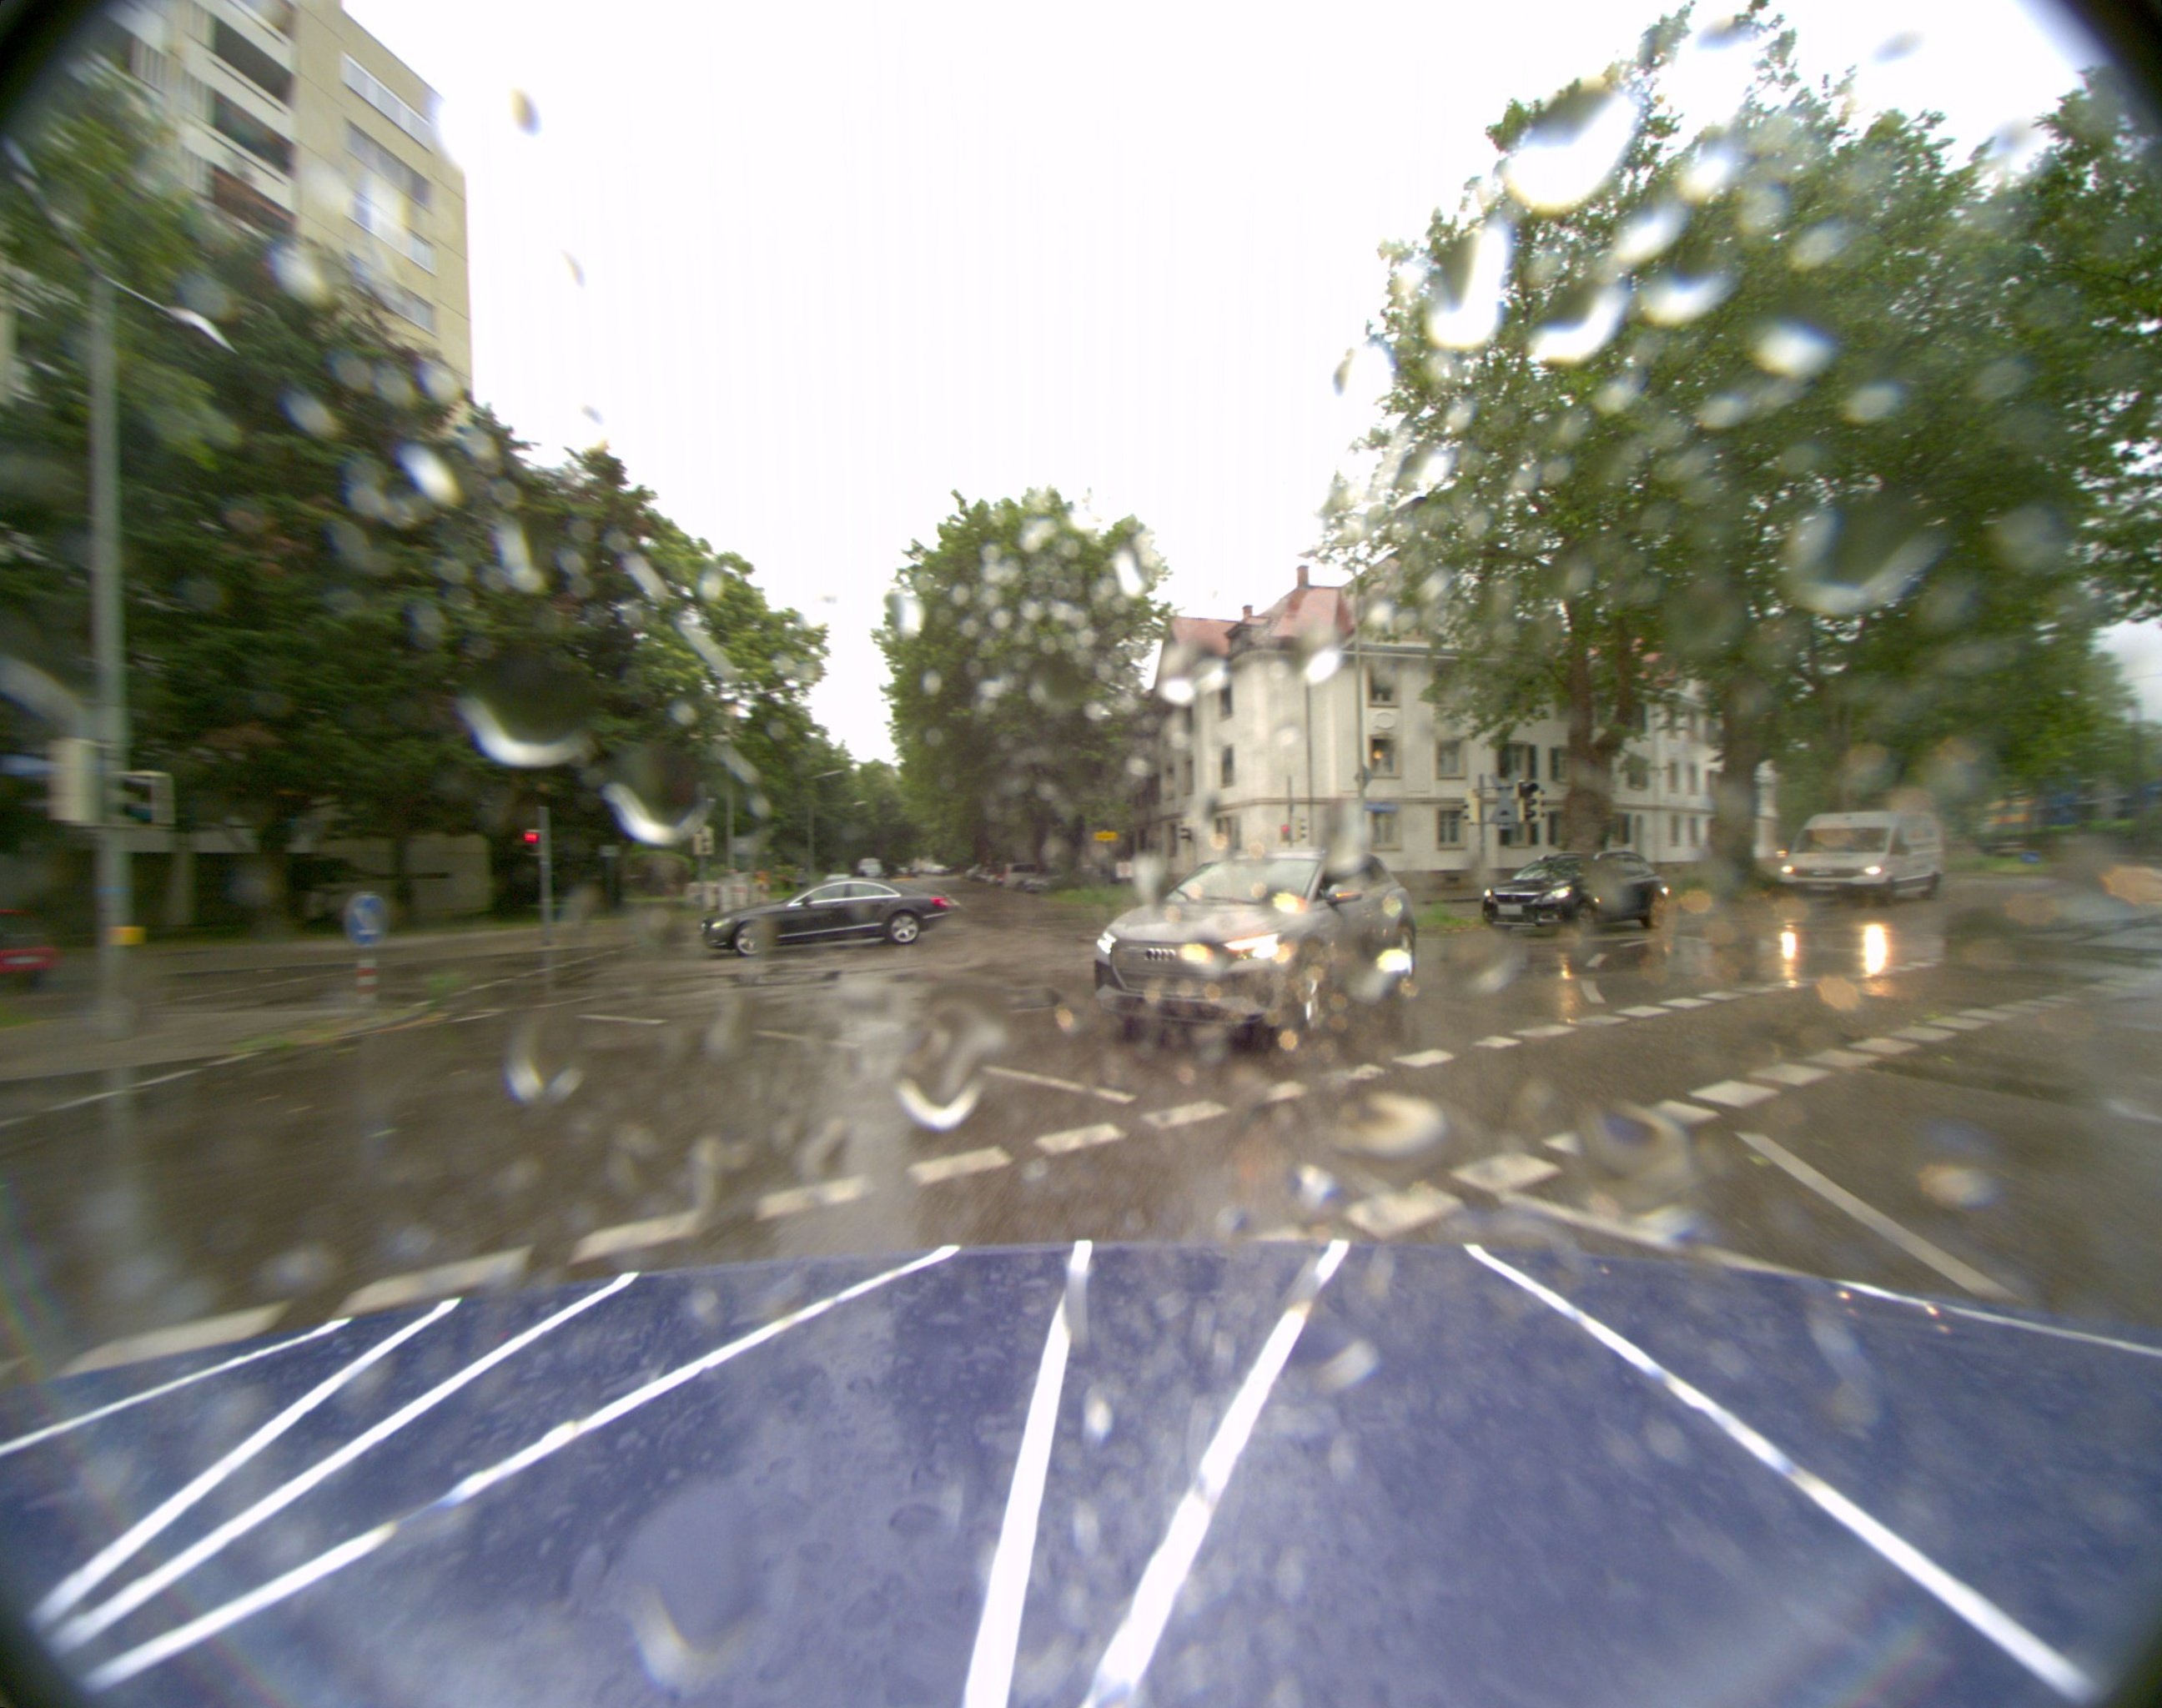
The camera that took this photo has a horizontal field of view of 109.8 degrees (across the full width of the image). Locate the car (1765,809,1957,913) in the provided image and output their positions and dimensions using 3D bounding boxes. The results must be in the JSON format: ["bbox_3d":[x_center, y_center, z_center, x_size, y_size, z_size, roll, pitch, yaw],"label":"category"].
[{"bbox_3d":[22.004,0.114,21.347,6.521,2.547,2.279,-2,0,-31],"label":"car"}]

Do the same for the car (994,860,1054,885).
[{"bbox_3d":[-4.512,1.444,60.252,4.445,1.888,2.031,0,-1,-14],"label":"car"}]

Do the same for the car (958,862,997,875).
[{"bbox_3d":[-12.777,1.786,93.644,4.673,1.595,2.031,0,-1,-12],"label":"car"}]

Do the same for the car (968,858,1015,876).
[{"bbox_3d":[-10.134,1.470,85.929,5.091,2.011,2.031,0,-1,-12],"label":"car"}]

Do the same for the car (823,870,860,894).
[{"bbox_3d":[-16.086,1.879,51.167,1.823,1.451,4.269,-2,0,-10],"label":"car"}]

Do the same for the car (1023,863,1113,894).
[{"bbox_3d":[-0.756,1.359,42.916,4.743,1.613,1.928,0,-1,-14],"label":"car"}]

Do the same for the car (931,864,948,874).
[{"bbox_3d":[-24.222,2.508,130.058,2.002,1.613,3.688,-2,0,-24],"label":"car"}]

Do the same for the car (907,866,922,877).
[{"bbox_3d":[-27.290,2.830,124.317,2.001,1.795,4.344,-2,0,-16],"label":"car"}]

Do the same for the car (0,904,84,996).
[{"bbox_3d":[-20.398,1.743,13.073,3.463,1.516,1.840,-2,0,-16],"label":"car"}]

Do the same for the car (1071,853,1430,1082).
[{"bbox_3d":[1.926,0.821,7.514,1.805,1.611,4.146,-1,-1,39],"label":"car"}]

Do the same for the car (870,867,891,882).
[{"bbox_3d":[-21.960,2.282,83.463,2.001,1.530,3.996,-2,0,-13],"label":"car"}]

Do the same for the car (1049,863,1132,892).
[{"bbox_3d":[0.500,1.217,40.319,4.002,1.346,1.795,-2,0,-16],"label":"car"}]

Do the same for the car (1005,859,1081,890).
[{"bbox_3d":[-2.487,1.297,49.064,4.673,1.862,2.031,0,-1,-12],"label":"car"}]

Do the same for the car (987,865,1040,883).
[{"bbox_3d":[-6.128,1.826,68.880,4.531,1.561,2.031,0,-1,-12],"label":"car"}]

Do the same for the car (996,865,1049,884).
[{"bbox_3d":[-5.152,1.751,66.567,4.412,1.575,1.926,0,-1,-12],"label":"car"}]

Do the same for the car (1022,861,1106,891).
[{"bbox_3d":[-1.050,1.313,45.396,4.673,1.680,2.031,0,-1,-12],"label":"car"}]

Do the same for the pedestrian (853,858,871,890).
[{"bbox_3d":[-14.257,1.300,49.507,0.944,2.050,1.080,-1,0,-9],"label":"pedestrian"}]

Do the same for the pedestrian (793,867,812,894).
[{"bbox_3d":[-17.178,1.615,46.908,0.944,1.650,0.928,-1,0,-9],"label":"pedestrian"}]

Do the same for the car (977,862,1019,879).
[{"bbox_3d":[-8.675,1.706,79.371,4.113,1.680,1.826,0,-1,-12],"label":"car"}]

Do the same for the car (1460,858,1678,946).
[{"bbox_3d":[9.373,0.828,14.555,4.006,1.435,1.850,0,-1,-29],"label":"car"}]

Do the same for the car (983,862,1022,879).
[{"bbox_3d":[-8.005,1.691,77.067,3.724,1.680,1.936,-1,-1,-12],"label":"car"}]

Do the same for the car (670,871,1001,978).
[{"bbox_3d":[-4.534,1.183,14.390,5.539,1.509,2.253,-2,0,-25],"label":"car"}]

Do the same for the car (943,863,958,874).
[{"bbox_3d":[-21.743,2.397,126.230,2.001,1.795,3.995,-2,0,-17],"label":"car"}]

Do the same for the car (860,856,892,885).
[{"bbox_3d":[-18.045,1.455,67.107,2.403,2.460,5.687,-1,-1,-11],"label":"car"}]
